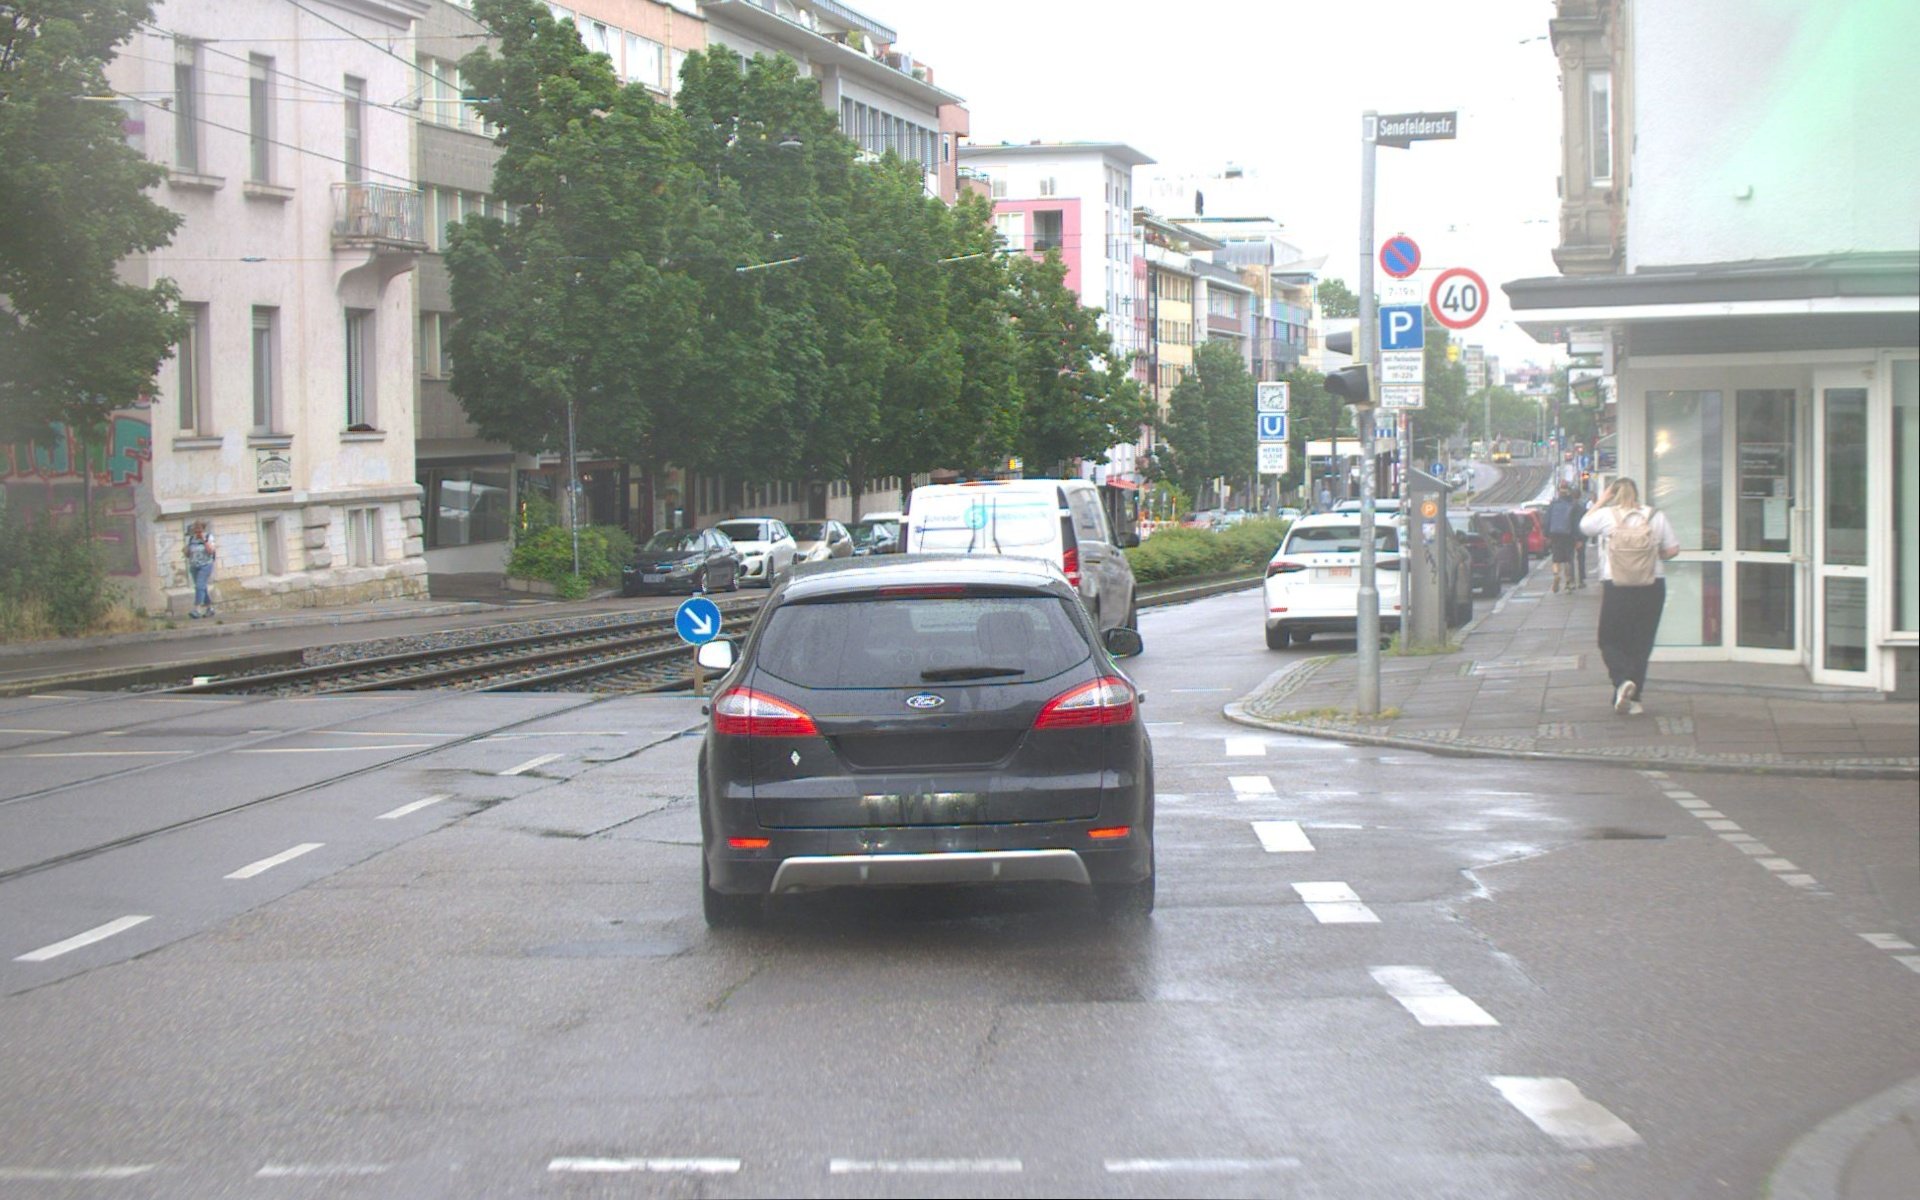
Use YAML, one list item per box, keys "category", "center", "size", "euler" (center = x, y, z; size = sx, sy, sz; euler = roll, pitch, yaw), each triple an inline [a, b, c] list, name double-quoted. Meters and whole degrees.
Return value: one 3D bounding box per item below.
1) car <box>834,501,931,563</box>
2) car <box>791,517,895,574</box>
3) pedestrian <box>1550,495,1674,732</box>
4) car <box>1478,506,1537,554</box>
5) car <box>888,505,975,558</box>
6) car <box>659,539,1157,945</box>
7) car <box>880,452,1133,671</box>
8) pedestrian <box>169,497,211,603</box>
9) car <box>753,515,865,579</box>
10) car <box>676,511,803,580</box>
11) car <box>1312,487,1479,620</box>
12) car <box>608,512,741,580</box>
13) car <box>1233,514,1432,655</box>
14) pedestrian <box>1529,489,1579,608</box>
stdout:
- category: "car"
  center: [-2.191, -1.936, 98.837]
  size: [1.856, 1.695, 4.429]
  euler: [1, 0, 11]
- category: "car"
  center: [-3.127, -1.453, 92.867]
  size: [1.856, 1.413, 4.429]
  euler: [-1, 0, 11]
- category: "pedestrian"
  center: [4.390, 0.087, 23.184]
  size: [0.688, 1.566, 0.763]
  euler: [0, 0, -1]
- category: "car"
  center: [16.450, -2.104, 103.198]
  size: [1.671, 1.416, 3.475]
  euler: [0, 1, 10]
- category: "car"
  center: [-0.846, -2.063, 104.494]
  size: [1.856, 1.521, 4.044]
  euler: [1, 0, 11]
- category: "car"
  center: [-0.185, 0.512, 14.740]
  size: [1.842, 1.502, 4.000]
  euler: [0, 0, 0]
- category: "car"
  center: [0.546, -0.450, 34.788]
  size: [1.989, 2.053, 4.644]
  euler: [1, 2, 8]
- category: "pedestrian"
  center: [-12.239, -0.793, 54.640]
  size: [0.467, 1.646, 0.582]
  euler: [3, 0, -1]
- category: "car"
  center: [-3.831, -1.328, 88.037]
  size: [1.856, 1.543, 4.429]
  euler: [1, 0, 11]
- category: "car"
  center: [-5.190, -1.278, 81.676]
  size: [1.856, 1.543, 4.718]
  euler: [1, 0, 11]
- category: "car"
  center: [5.735, -0.594, 44.850]
  size: [1.846, 1.627, 4.584]
  euler: [1, 1, 11]
- category: "car"
  center: [-6.240, -1.172, 75.690]
  size: [1.694, 1.373, 4.718]
  euler: [1, 0, 11]
- category: "car"
  center: [4.176, -0.172, 37.953]
  size: [1.802, 1.450, 4.584]
  euler: [0, 0, 11]
- category: "pedestrian"
  center: [9.366, -0.820, 54.212]
  size: [0.703, 1.813, 0.961]
  euler: [-2, 2, 11]
